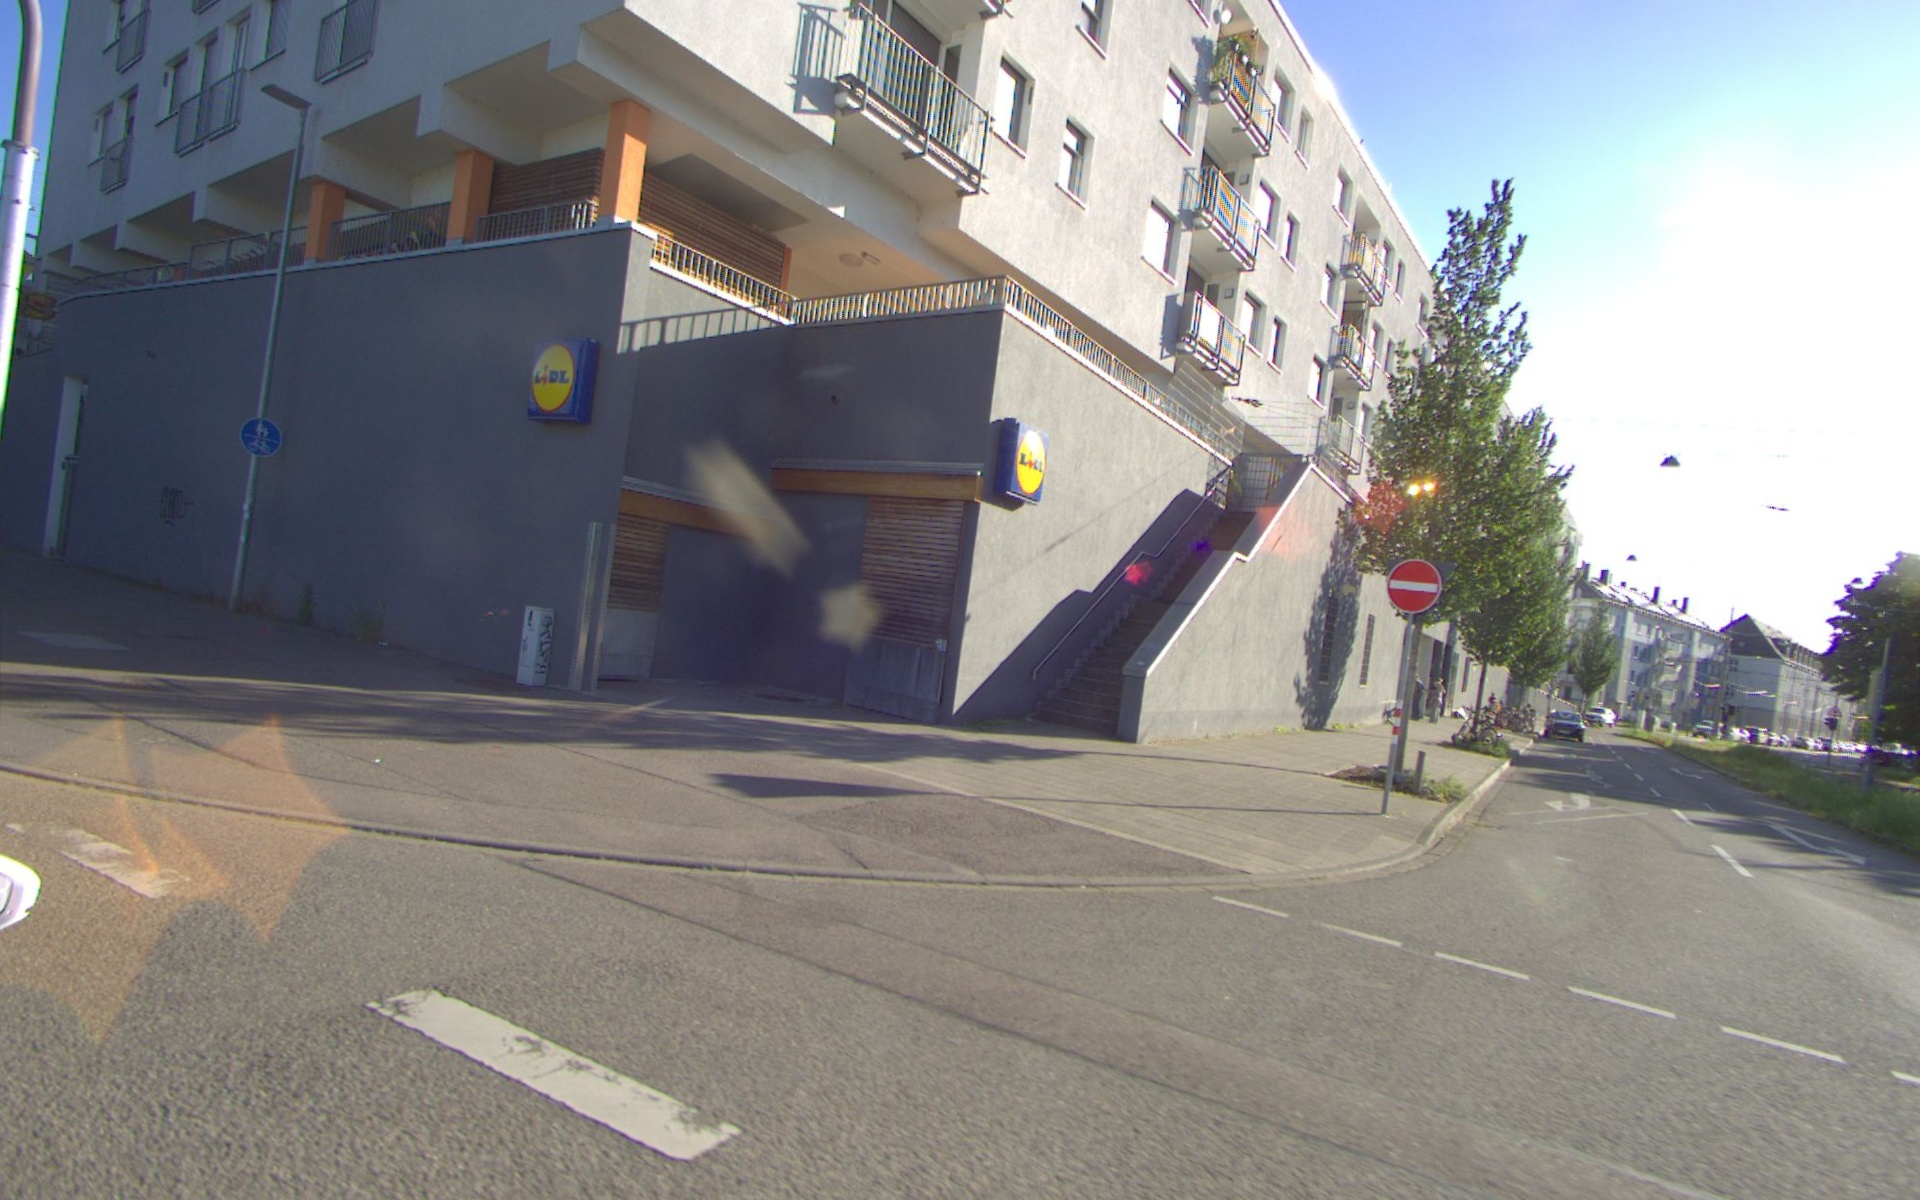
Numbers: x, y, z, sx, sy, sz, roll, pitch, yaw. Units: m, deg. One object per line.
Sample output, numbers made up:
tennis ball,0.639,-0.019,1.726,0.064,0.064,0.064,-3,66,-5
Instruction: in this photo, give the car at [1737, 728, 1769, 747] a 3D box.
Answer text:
car,91.175,15.784,115.613,3.972,1.658,1.979,10,-4,-39

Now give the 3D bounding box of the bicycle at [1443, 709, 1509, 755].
bicycle,13.914,3.554,27.160,0.479,0.980,1.437,9,-3,-41

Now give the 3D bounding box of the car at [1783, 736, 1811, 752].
car,109.013,18.746,130.951,3.972,1.658,1.979,10,-4,-39

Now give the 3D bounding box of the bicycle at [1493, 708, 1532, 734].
bicycle,25.622,5.615,46.643,1.434,0.981,0.480,5,-3,43

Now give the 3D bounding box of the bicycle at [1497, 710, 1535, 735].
bicycle,26.925,5.918,48.741,1.434,0.981,0.480,5,-3,43

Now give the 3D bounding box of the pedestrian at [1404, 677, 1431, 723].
pedestrian,18.327,4.005,40.305,0.659,1.720,0.593,9,-2,-41

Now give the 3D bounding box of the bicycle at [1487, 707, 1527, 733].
bicycle,25.044,5.500,46.062,1.434,0.981,0.480,5,-3,43

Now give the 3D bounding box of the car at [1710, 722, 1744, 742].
car,83.511,14.353,109.557,3.972,1.658,1.979,10,-4,-39

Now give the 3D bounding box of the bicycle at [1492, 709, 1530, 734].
bicycle,26.210,5.767,47.862,1.434,0.981,0.480,5,-3,43

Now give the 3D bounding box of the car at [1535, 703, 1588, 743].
car,31.234,6.410,52.190,1.969,1.658,3.993,6,-4,36

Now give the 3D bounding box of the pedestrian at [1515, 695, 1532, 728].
pedestrian,31.805,6.295,56.762,0.652,1.720,0.600,7,-2,31

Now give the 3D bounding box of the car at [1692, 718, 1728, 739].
car,79.106,13.531,106.100,3.972,1.658,1.979,10,-4,-39

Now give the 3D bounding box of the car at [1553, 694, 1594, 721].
car,50.454,8.857,82.729,1.975,1.658,3.982,5,-4,44

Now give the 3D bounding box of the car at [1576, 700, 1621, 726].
car,55.073,9.743,86.776,3.971,1.658,1.980,10,-3,-38

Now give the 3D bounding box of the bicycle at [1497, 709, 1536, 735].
bicycle,25.974,5.684,46.983,1.434,0.981,0.480,5,-3,43

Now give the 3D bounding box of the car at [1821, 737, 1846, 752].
car,128.520,21.325,148.042,3.972,1.658,1.979,10,-4,-39

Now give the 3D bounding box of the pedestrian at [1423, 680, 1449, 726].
pedestrian,19.204,4.146,40.576,0.659,1.720,0.593,9,-2,-41
